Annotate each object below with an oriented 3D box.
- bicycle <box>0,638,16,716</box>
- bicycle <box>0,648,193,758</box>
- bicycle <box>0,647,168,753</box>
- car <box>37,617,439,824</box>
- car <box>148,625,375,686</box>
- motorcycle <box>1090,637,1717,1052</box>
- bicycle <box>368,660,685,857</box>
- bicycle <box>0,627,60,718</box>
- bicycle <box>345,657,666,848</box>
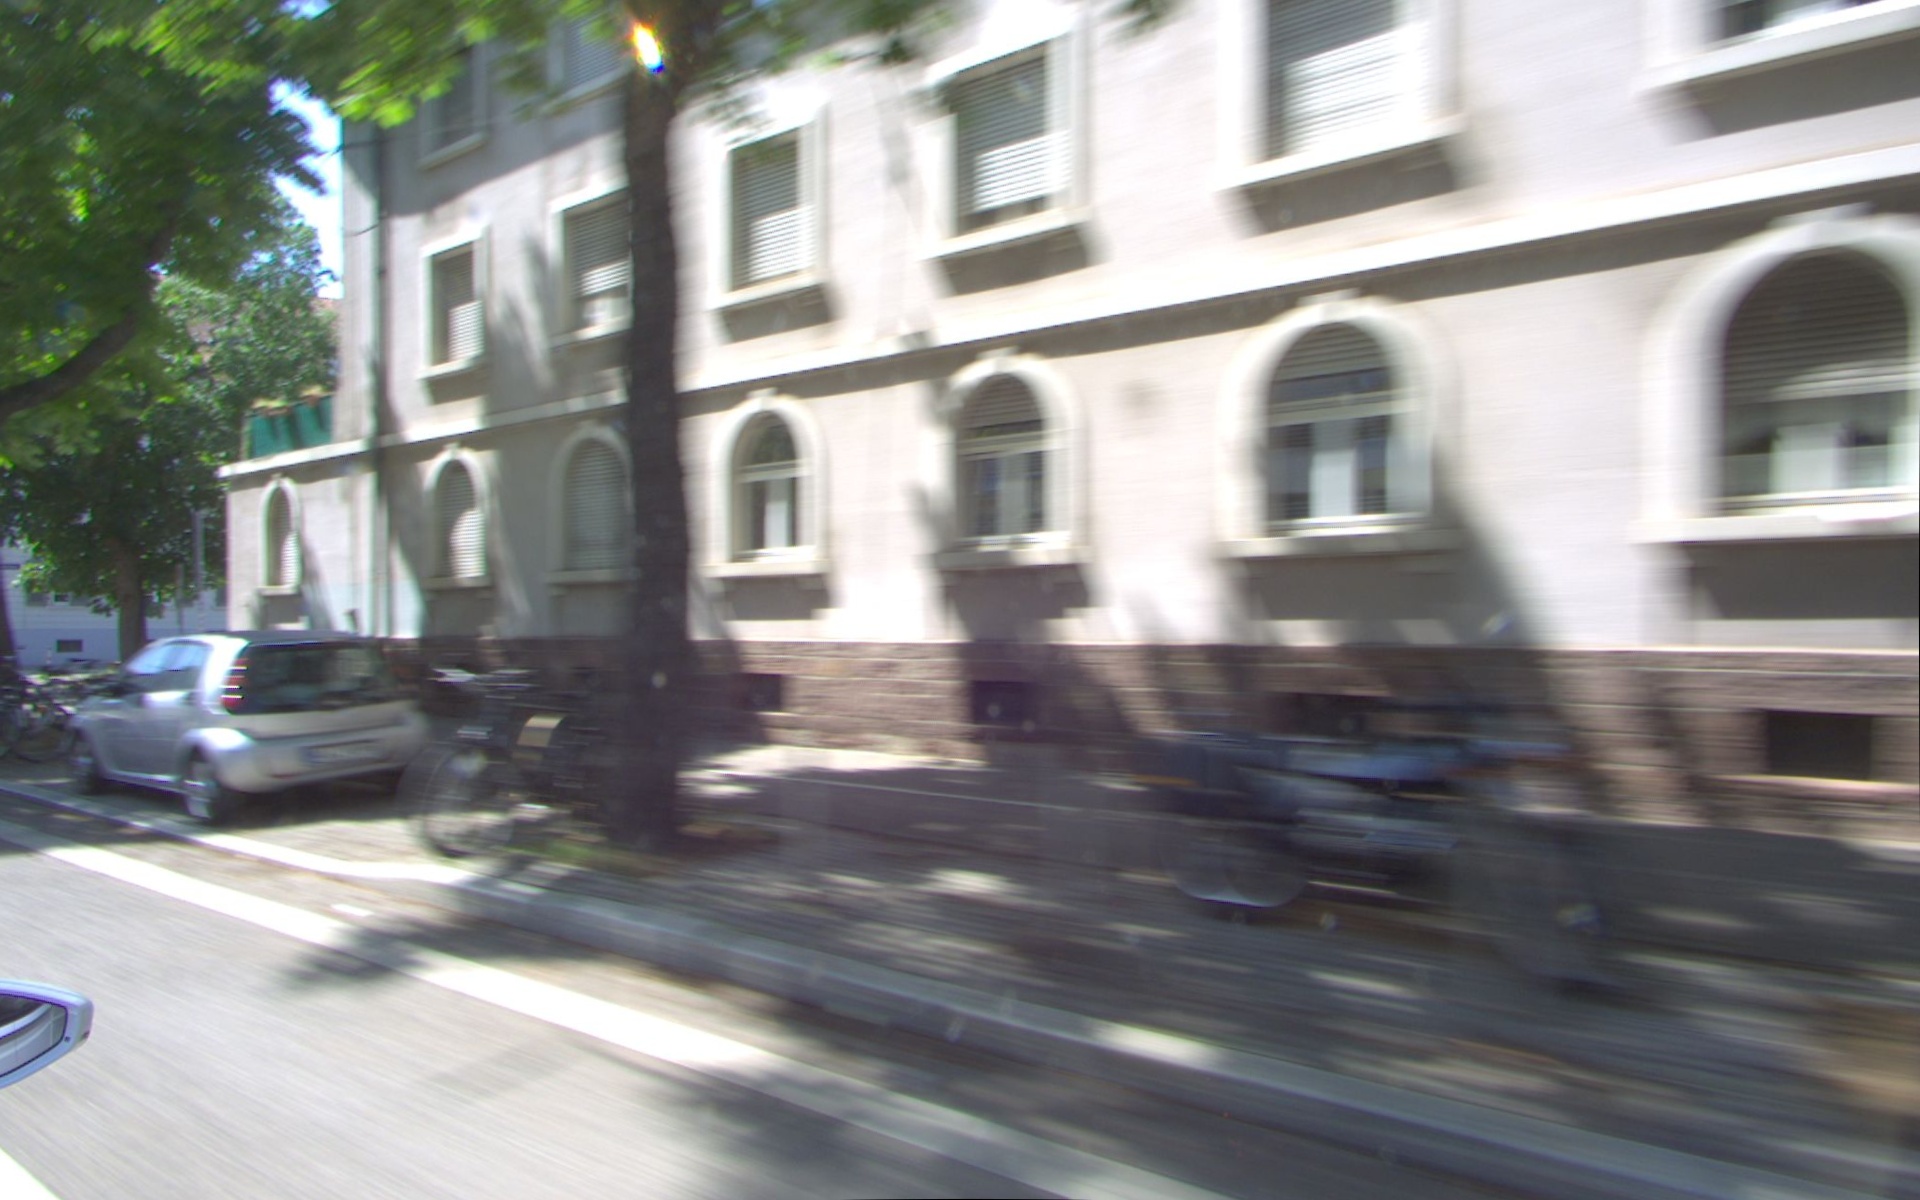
[{"bbox_3d":[-14.585,1.126,14.103,0.486,1.127,1.813,-2,-1,31],"label":"bicycle"},{"bbox_3d":[-10.127,1.147,11.539,0.590,1.127,1.958,-2,-1,34],"label":"bicycle"},{"bbox_3d":[-10.681,1.156,11.817,0.631,1.127,2.005,-2,-1,34],"label":"bicycle"},{"bbox_3d":[-6.550,0.938,9.000,3.756,1.467,1.618,-2,1,32],"label":"car"},{"bbox_3d":[-17.702,1.380,25.694,4.631,1.455,1.729,1,-1,-31],"label":"car"},{"bbox_3d":[1.821,0.837,4.430,2.353,1.316,0.991,-1,-1,43],"label":"motorcycle"},{"bbox_3d":[-2.753,0.950,6.565,0.531,1.065,1.882,-1,-2,39],"label":"bicycle"},{"bbox_3d":[-13.970,1.046,14.605,1.976,1.247,0.579,-2,-1,27],"label":"bicycle"},{"bbox_3d":[-3.021,0.954,6.863,0.591,1.077,1.956,-1,-2,39],"label":"bicycle"}]
